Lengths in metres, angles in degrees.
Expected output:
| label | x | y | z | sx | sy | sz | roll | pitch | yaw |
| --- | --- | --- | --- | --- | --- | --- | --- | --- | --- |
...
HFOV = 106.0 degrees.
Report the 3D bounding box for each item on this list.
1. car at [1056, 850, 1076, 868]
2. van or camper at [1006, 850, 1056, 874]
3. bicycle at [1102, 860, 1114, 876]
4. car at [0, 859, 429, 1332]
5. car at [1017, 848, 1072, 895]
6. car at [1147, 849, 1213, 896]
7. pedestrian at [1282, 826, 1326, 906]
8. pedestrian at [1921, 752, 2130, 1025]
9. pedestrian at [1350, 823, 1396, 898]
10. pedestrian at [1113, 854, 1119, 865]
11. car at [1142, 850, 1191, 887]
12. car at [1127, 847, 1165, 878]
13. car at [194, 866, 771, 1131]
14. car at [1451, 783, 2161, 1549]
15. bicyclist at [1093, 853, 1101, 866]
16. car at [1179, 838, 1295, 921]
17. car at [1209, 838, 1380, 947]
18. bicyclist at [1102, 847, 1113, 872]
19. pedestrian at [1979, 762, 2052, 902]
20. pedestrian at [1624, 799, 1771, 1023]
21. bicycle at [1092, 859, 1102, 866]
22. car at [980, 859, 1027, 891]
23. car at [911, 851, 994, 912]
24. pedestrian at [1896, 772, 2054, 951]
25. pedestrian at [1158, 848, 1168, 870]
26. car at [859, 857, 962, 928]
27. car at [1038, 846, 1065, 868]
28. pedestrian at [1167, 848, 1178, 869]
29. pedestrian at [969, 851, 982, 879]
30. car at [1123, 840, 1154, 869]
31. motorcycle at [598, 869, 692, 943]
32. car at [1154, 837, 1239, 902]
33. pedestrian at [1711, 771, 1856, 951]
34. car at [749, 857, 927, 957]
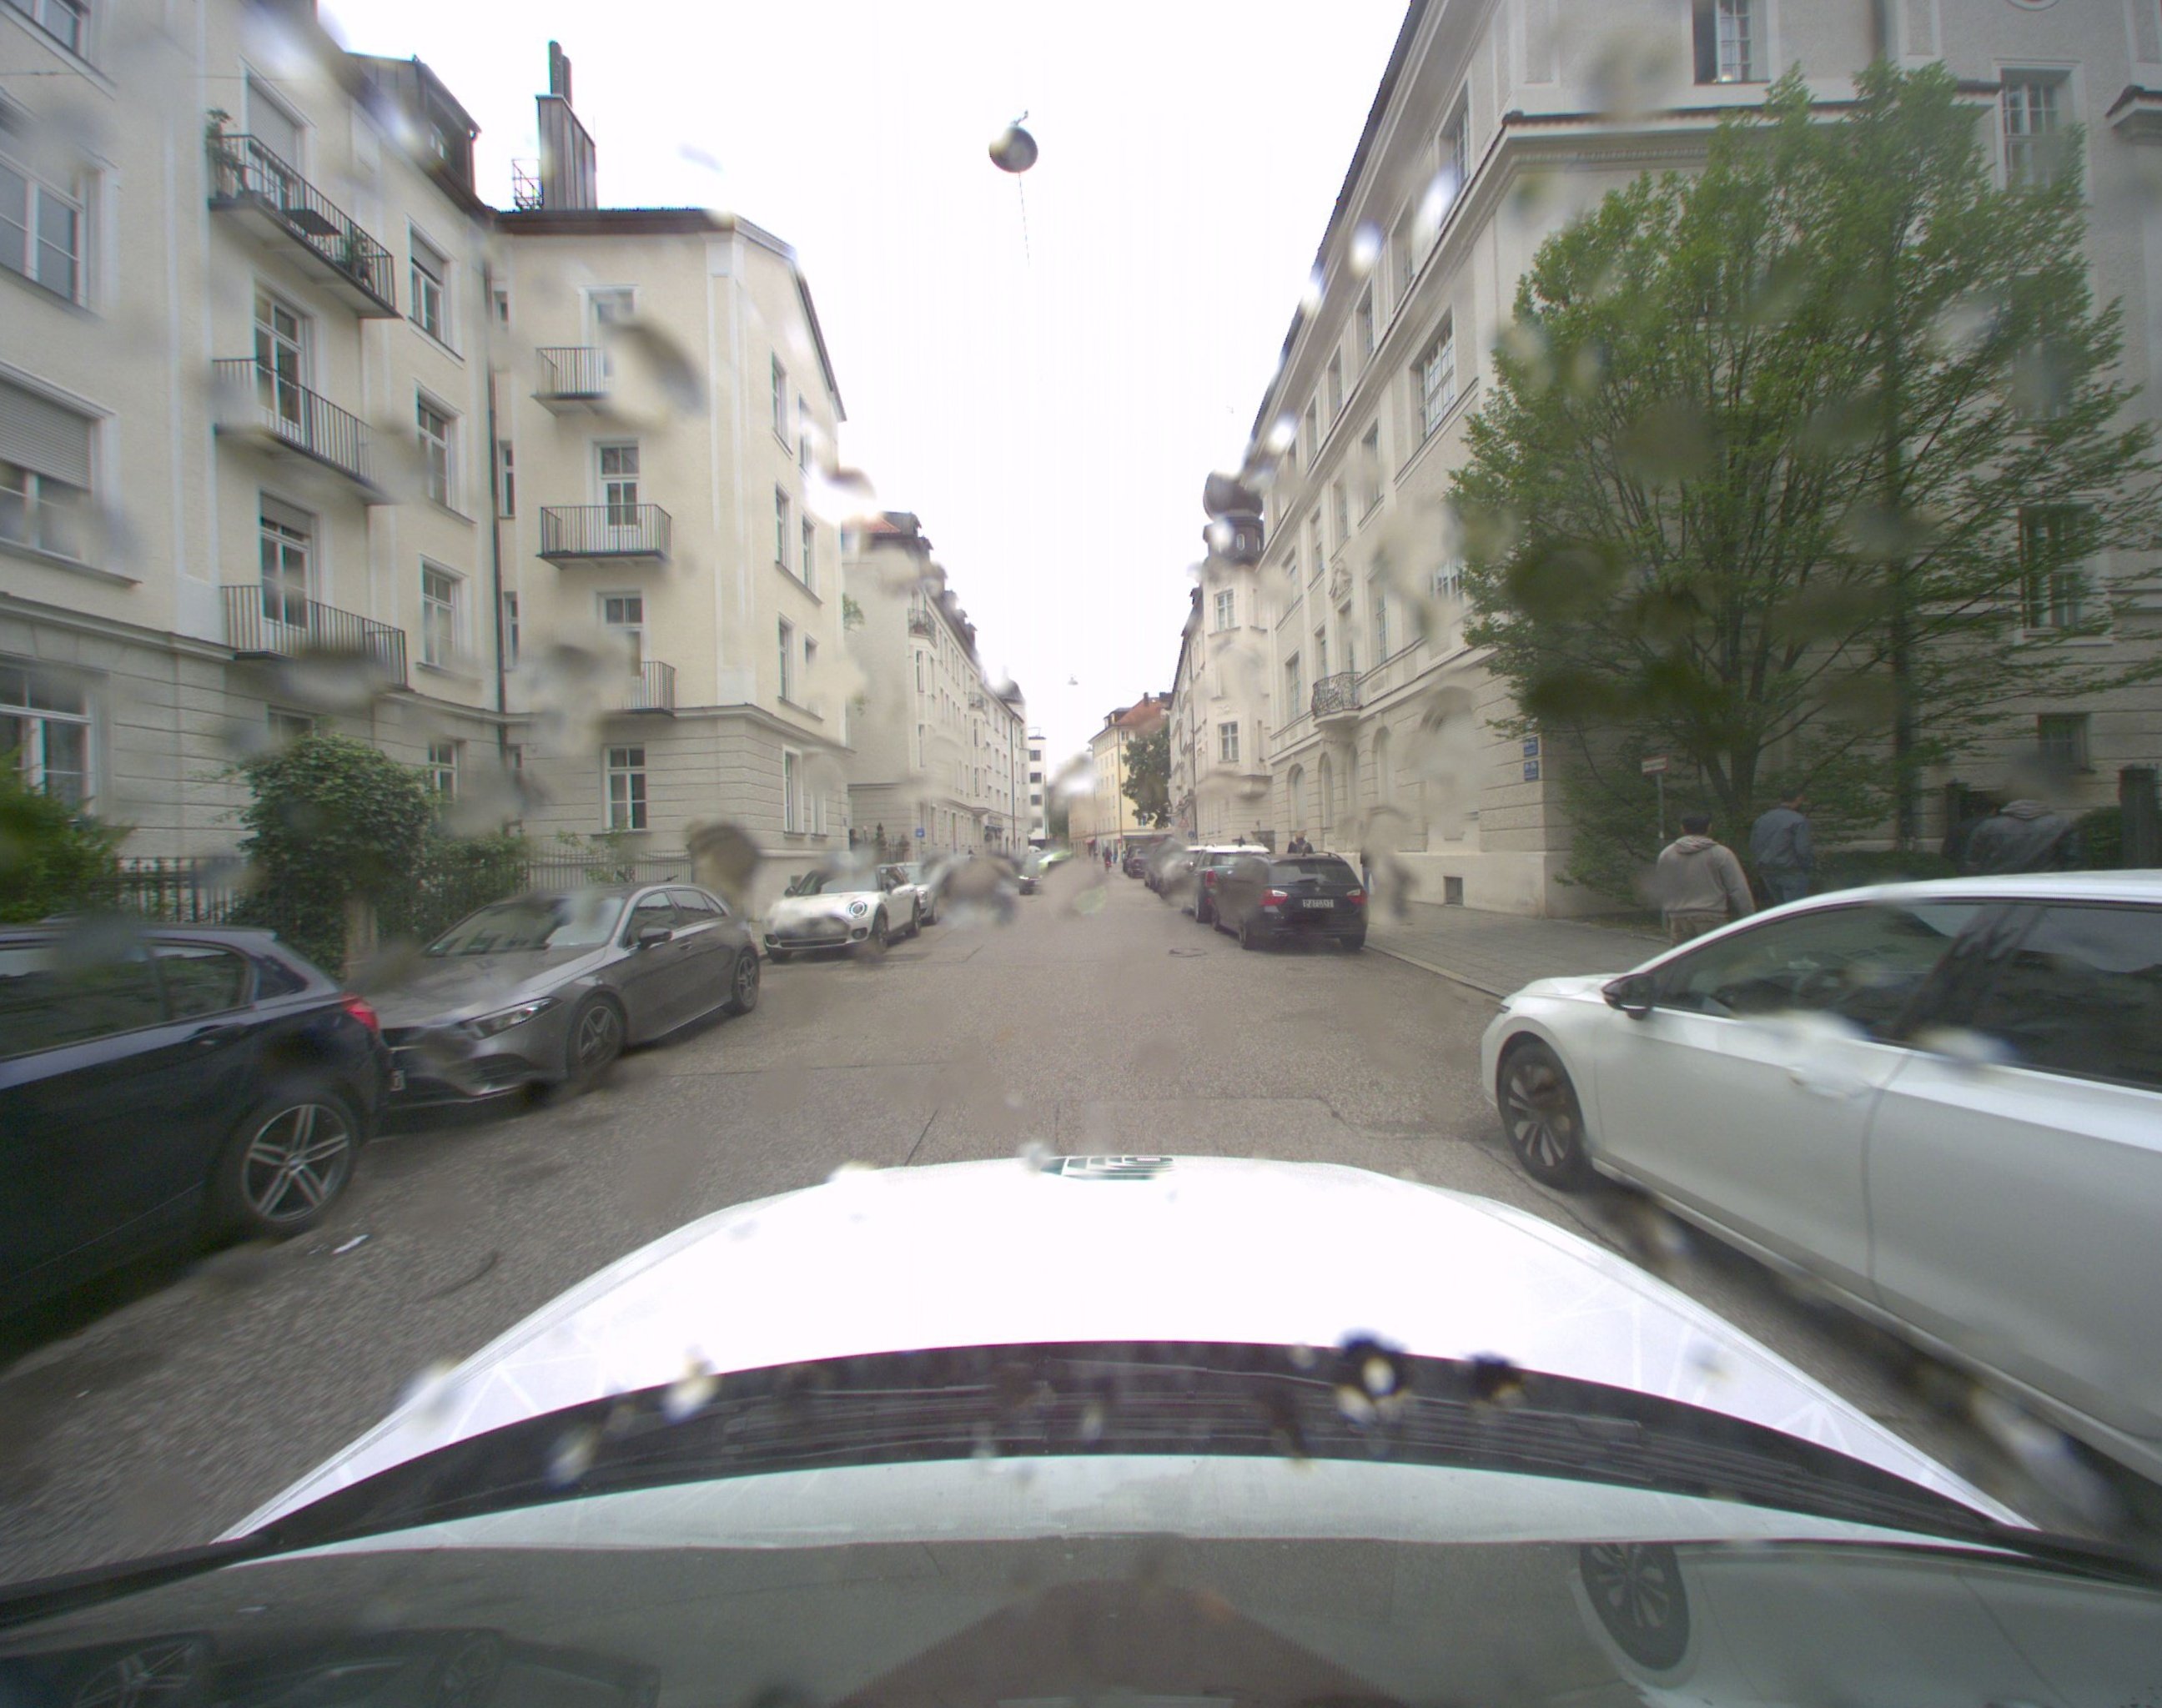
| label | x | y | z | sx | sy | sz | roll | pitch | yaw |
| --- | --- | --- | --- | --- | --- | --- | --- | --- | --- |
| car | -1.495 | 0.535 | 83.419 | 1.670 | 1.597 | 3.948 | -4 | -1 | 3 |
| van or camper | -6.120 | 0.970 | 99.554 | 5.899 | 2.677 | 1.868 | -2 | -3 | -7 |
| bicycle | 1.758 | 0.893 | 53.487 | 0.636 | 1.004 | 1.576 | -2 | -1 | 5 |
| car | -4.173 | 0.766 | 2.119 | 1.763 | 1.420 | 3.997 | -1 | 0 | -2 |
| car | -1.335 | 0.651 | 31.249 | 1.718 | 1.533 | 4.086 | -4 | -1 | 1 |
| car | 3.403 | 0.622 | 28.674 | 1.703 | 1.501 | 3.997 | -1 | -1 | -2 |
| pedestrian | 5.152 | 0.269 | 18.872 | 0.679 | 1.775 | 0.855 | -5 | 0 | 2 |
| pedestrian | 6.538 | 0.225 | 5.675 | 0.626 | 1.769 | 0.672 | -2 | 0 | 0 |
| pedestrian | 6.887 | 0.144 | 19.240 | 0.680 | 1.679 | 0.812 | -4 | 0 | 0 |
| pedestrian | 4.553 | 0.718 | 106.247 | 0.695 | 1.270 | 0.652 | -3 | -1 | 5 |
| car | 3.416 | 0.579 | 33.240 | 1.607 | 1.395 | 4.000 | -1 | 0 | 0 |
| car | 3.488 | 0.451 | 44.442 | 1.702 | 1.588 | 3.998 | 0 | 0 | -1 |
| car | -4.234 | 0.857 | 6.789 | 1.730 | 1.365 | 4.189 | -4 | 0 | -2 |
| car | 2.918 | 0.592 | 2.454 | 1.658 | 1.507 | 4.062 | -1 | 0 | -2 |
| bicyclist | 2.135 | 0.717 | 106.288 | 0.782 | 1.637 | 0.971 | -1 | -1 | -13 |
| car | 3.198 | 0.499 | 17.514 | 1.742 | 1.525 | 4.171 | -2 | 0 | 1 |
| car | 3.240 | 0.518 | 13.216 | 1.705 | 1.452 | 4.225 | -1 | 0 | 1 |
| bicyclist | 1.746 | 0.384 | 53.543 | 0.603 | 1.606 | 0.759 | -2 | 0 | 6 |
| pedestrian | 12.382 | -0.284 | 10.792 | 0.577 | 1.794 | 0.548 | -2 | -1 | -38 |
| pedestrian | 5.010 | 0.429 | 6.627 | 0.855 | 1.658 | 0.859 | -2 | -1 | 39 |
| bicycle | 2.120 | 1.112 | 106.422 | 0.848 | 1.001 | 2.160 | -1 | 0 | -13 |
| car | -3.615 | 0.948 | 38.690 | 1.844 | 1.367 | 4.699 | -2 | 0 | -1 |
| car | -3.840 | 0.773 | 24.926 | 1.690 | 1.580 | 4.062 | -4 | 0 | 1 |
| pedestrian | 9.728 | 0.076 | 8.891 | 0.857 | 1.817 | 0.678 | -4 | 0 | 0 |
| pedestrian | 6.732 | 0.423 | 67.031 | 0.701 | 1.728 | 0.703 | -3 | -1 | -2 |
| car | -3.978 | 0.853 | 19.649 | 1.640 | 1.403 | 3.997 | -4 | -1 | -2 |
| car | -2.525 | 0.219 | 69.562 | 1.835 | 1.757 | 4.004 | -2 | 0 | 4 |
| pedestrian | 7.571 | 0.350 | 67.419 | 0.678 | 1.674 | 0.654 | -4 | -1 | -2 |
| pedestrian | -6.528 | 0.681 | 50.257 | 0.696 | 1.707 | 0.665 | -2 | -1 | -2 |
| car | 3.871 | 0.067 | 55.432 | 1.904 | 1.885 | 4.714 | 0 | -1 | 1 |
| motorcycle | -7.827 | 0.903 | 14.724 | 0.702 | 1.249 | 1.820 | 0 | -1 | 0 |
| car | 3.187 | 0.386 | 23.273 | 1.888 | 1.636 | 4.393 | -2 | 0 | 2 |
| pedestrian | 7.293 | 0.068 | 8.491 | 0.879 | 1.769 | 0.672 | -2 | 0 | 0 |
| car | -4.007 | 0.812 | 14.159 | 1.791 | 1.435 | 4.079 | -2 | -1 | 1 |
